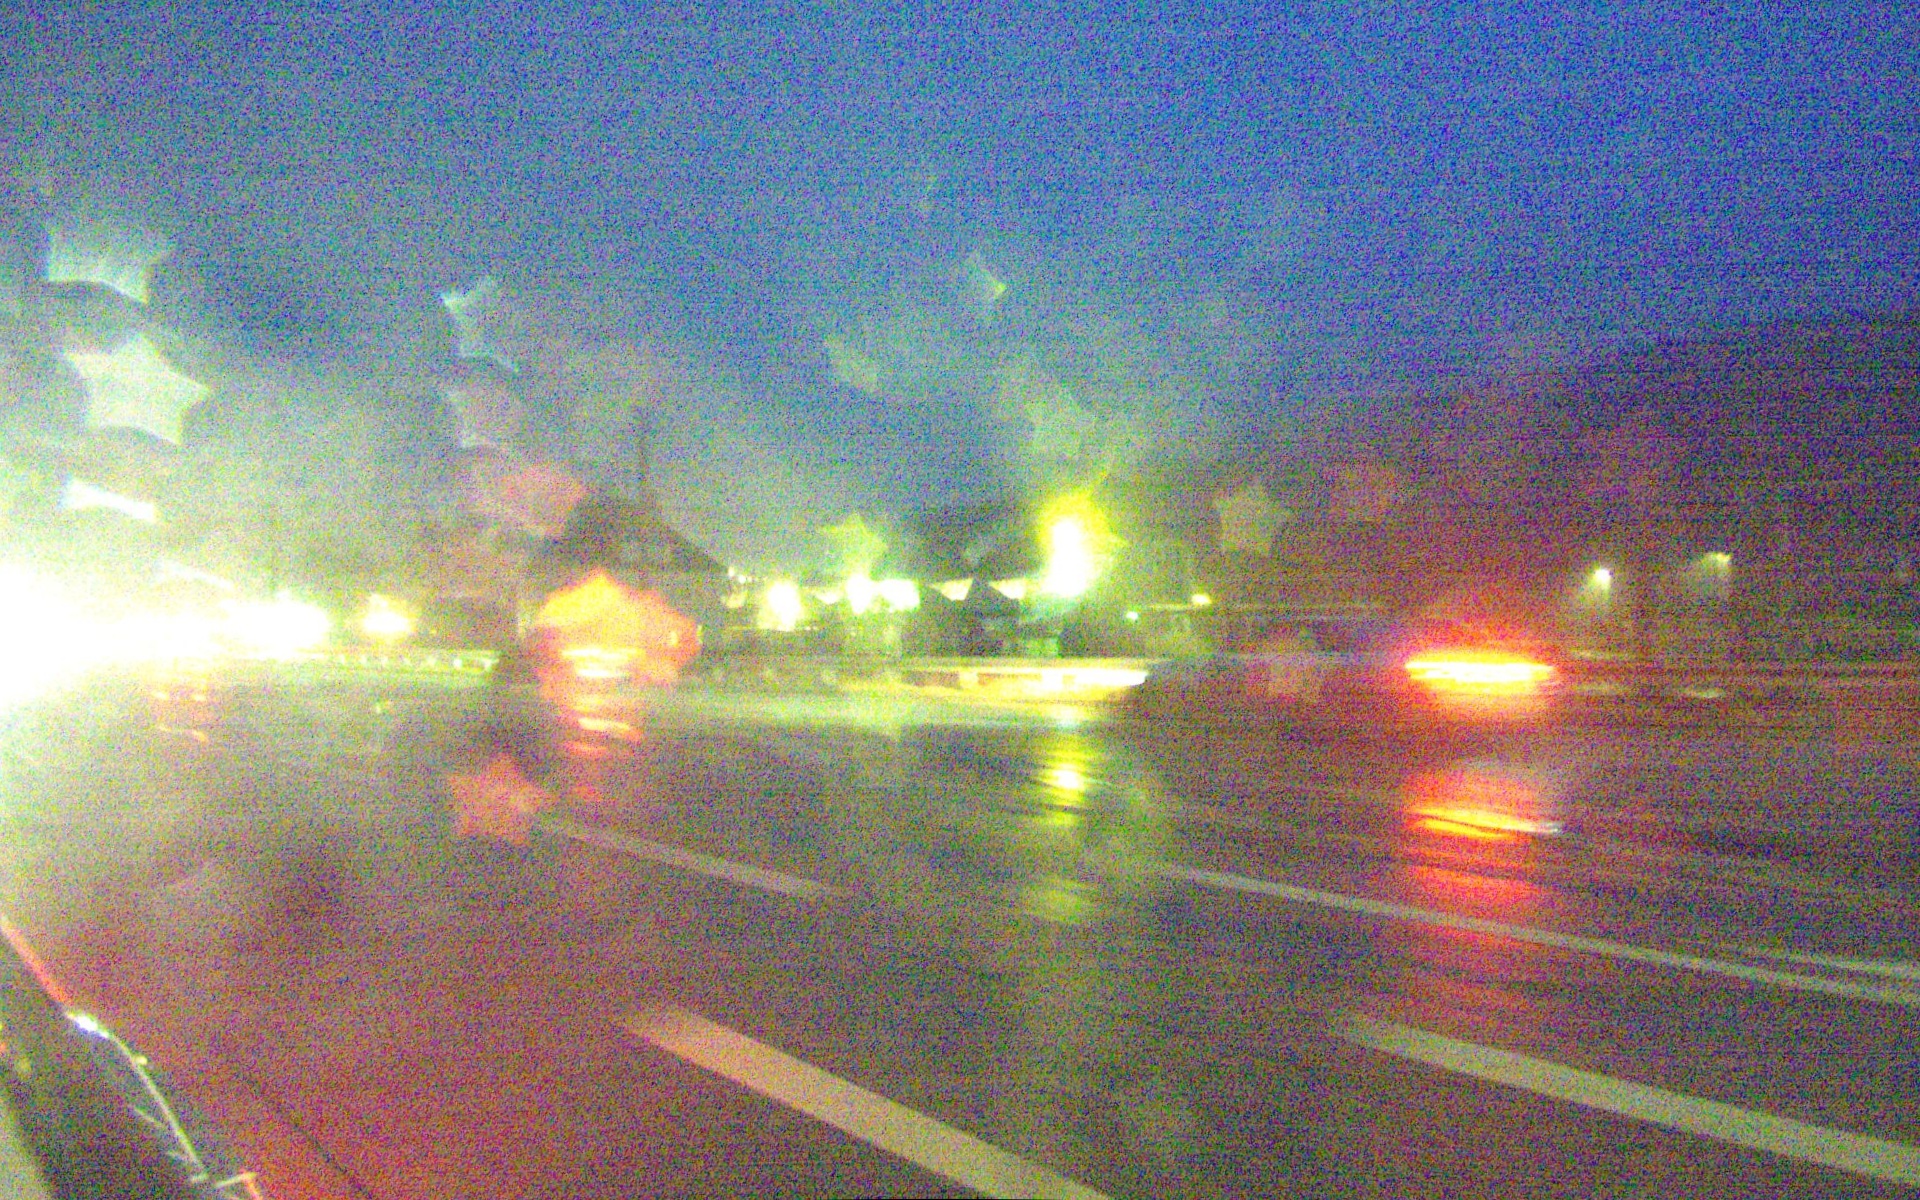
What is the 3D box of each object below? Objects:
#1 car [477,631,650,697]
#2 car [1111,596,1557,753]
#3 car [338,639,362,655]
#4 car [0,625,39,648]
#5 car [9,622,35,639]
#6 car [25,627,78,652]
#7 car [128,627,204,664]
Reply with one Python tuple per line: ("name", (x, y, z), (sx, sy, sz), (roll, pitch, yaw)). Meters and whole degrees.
("car", (-9.365, 1.433, 23.780), (4.243, 1.408, 1.858), (-1, -2, 38))
("car", (4.282, 0.801, 11.989), (4.550, 1.519, 1.974), (-3, -2, 39))
("car", (-78.327, 6.006, 129.951), (1.969, 2.029, 4.005), (0, -1, -42))
("car", (-75.945, 2.894, 81.541), (4.525, 1.758, 2.174), (-1, -1, 43))
("car", (-93.174, 3.012, 100.492), (1.859, 1.612, 3.903), (0, -1, -44))
("car", (-55.790, 2.396, 62.150), (4.487, 1.453, 1.814), (-1, -1, 40))
("car", (-33.608, 1.906, 42.812), (3.852, 1.452, 1.772), (-1, -1, 40))
